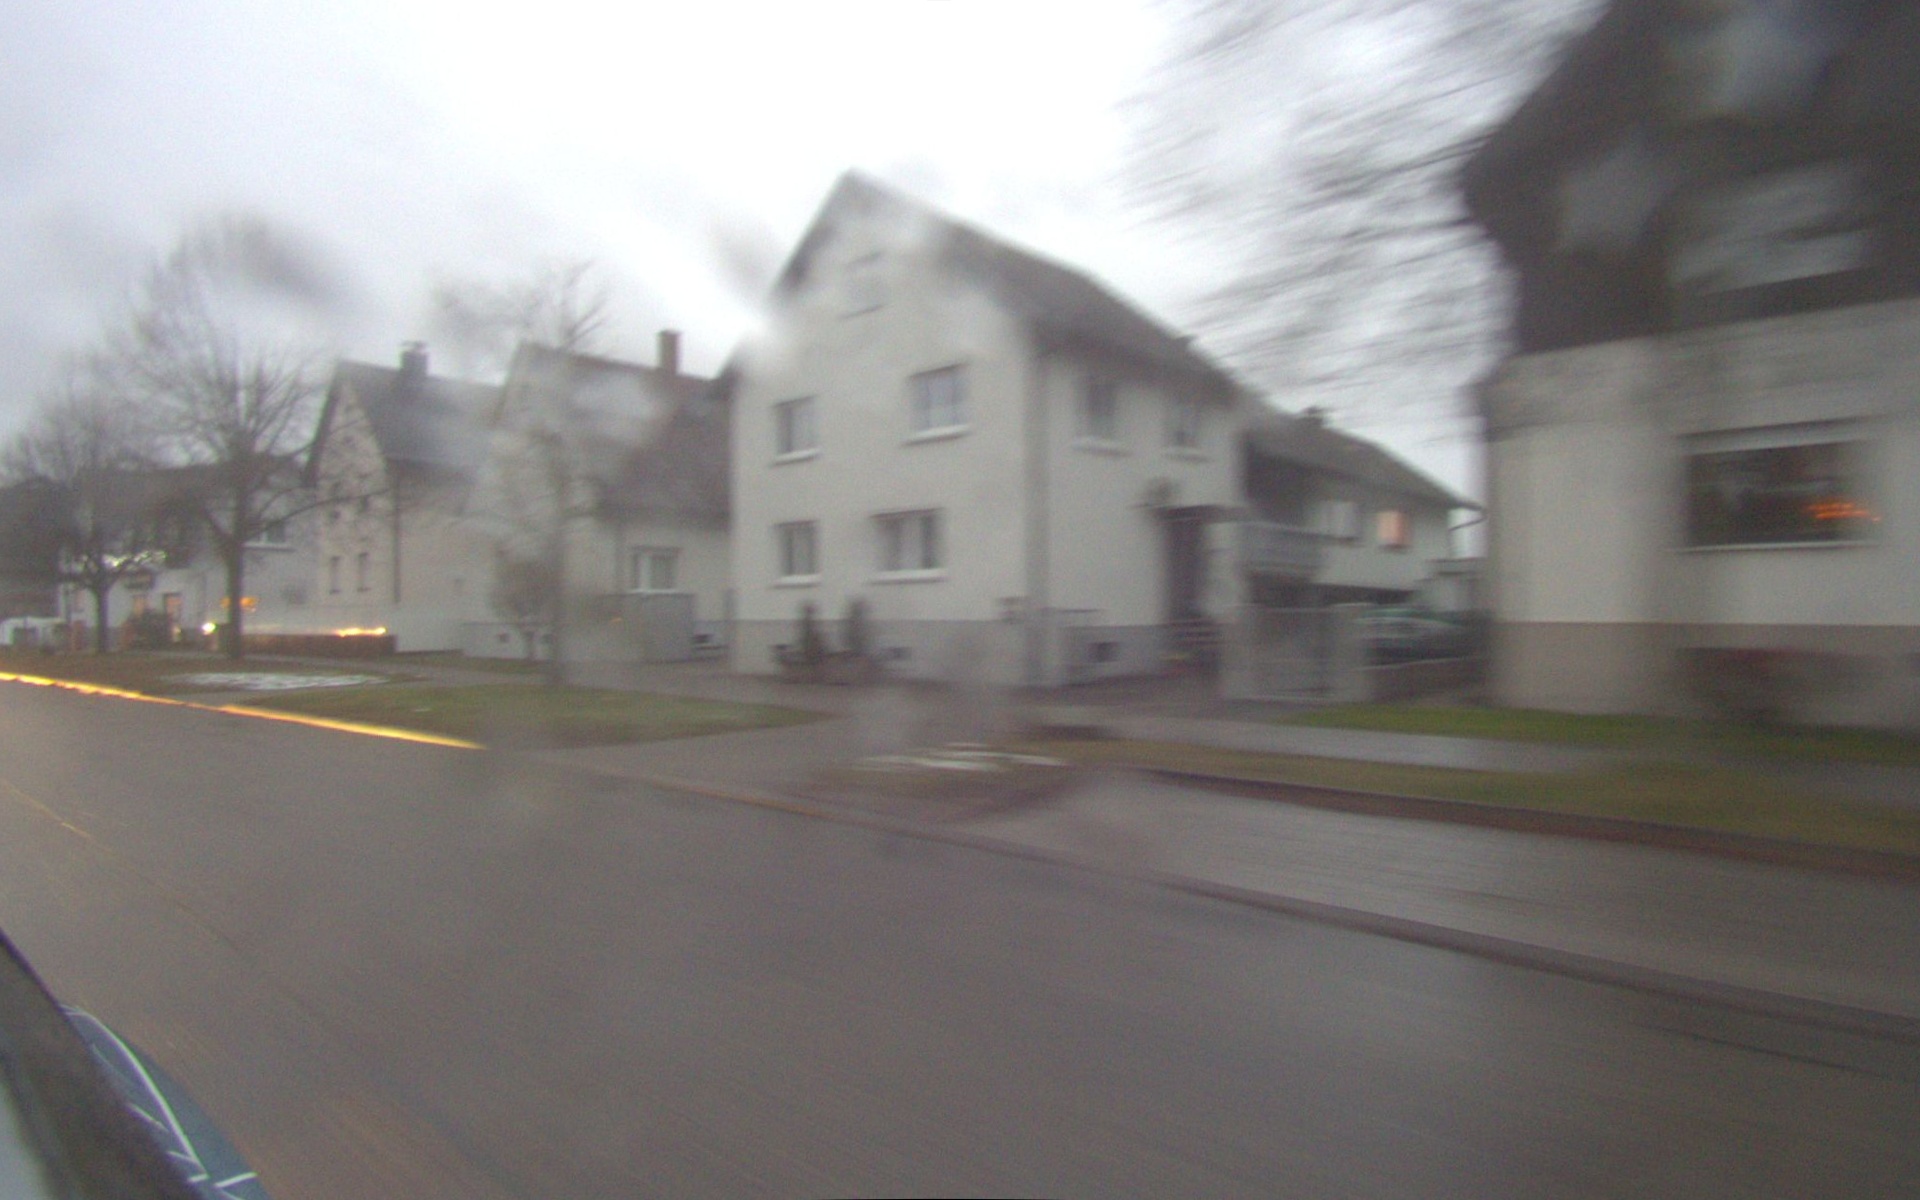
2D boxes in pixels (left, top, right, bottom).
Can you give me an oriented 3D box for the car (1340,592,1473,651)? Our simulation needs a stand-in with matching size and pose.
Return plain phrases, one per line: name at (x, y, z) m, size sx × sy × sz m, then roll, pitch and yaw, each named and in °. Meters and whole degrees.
car at (10.716, 0.551, 24.153) m, size 1.854 × 1.267 × 3.946 m, roll 0°, pitch -3°, yaw 40°
